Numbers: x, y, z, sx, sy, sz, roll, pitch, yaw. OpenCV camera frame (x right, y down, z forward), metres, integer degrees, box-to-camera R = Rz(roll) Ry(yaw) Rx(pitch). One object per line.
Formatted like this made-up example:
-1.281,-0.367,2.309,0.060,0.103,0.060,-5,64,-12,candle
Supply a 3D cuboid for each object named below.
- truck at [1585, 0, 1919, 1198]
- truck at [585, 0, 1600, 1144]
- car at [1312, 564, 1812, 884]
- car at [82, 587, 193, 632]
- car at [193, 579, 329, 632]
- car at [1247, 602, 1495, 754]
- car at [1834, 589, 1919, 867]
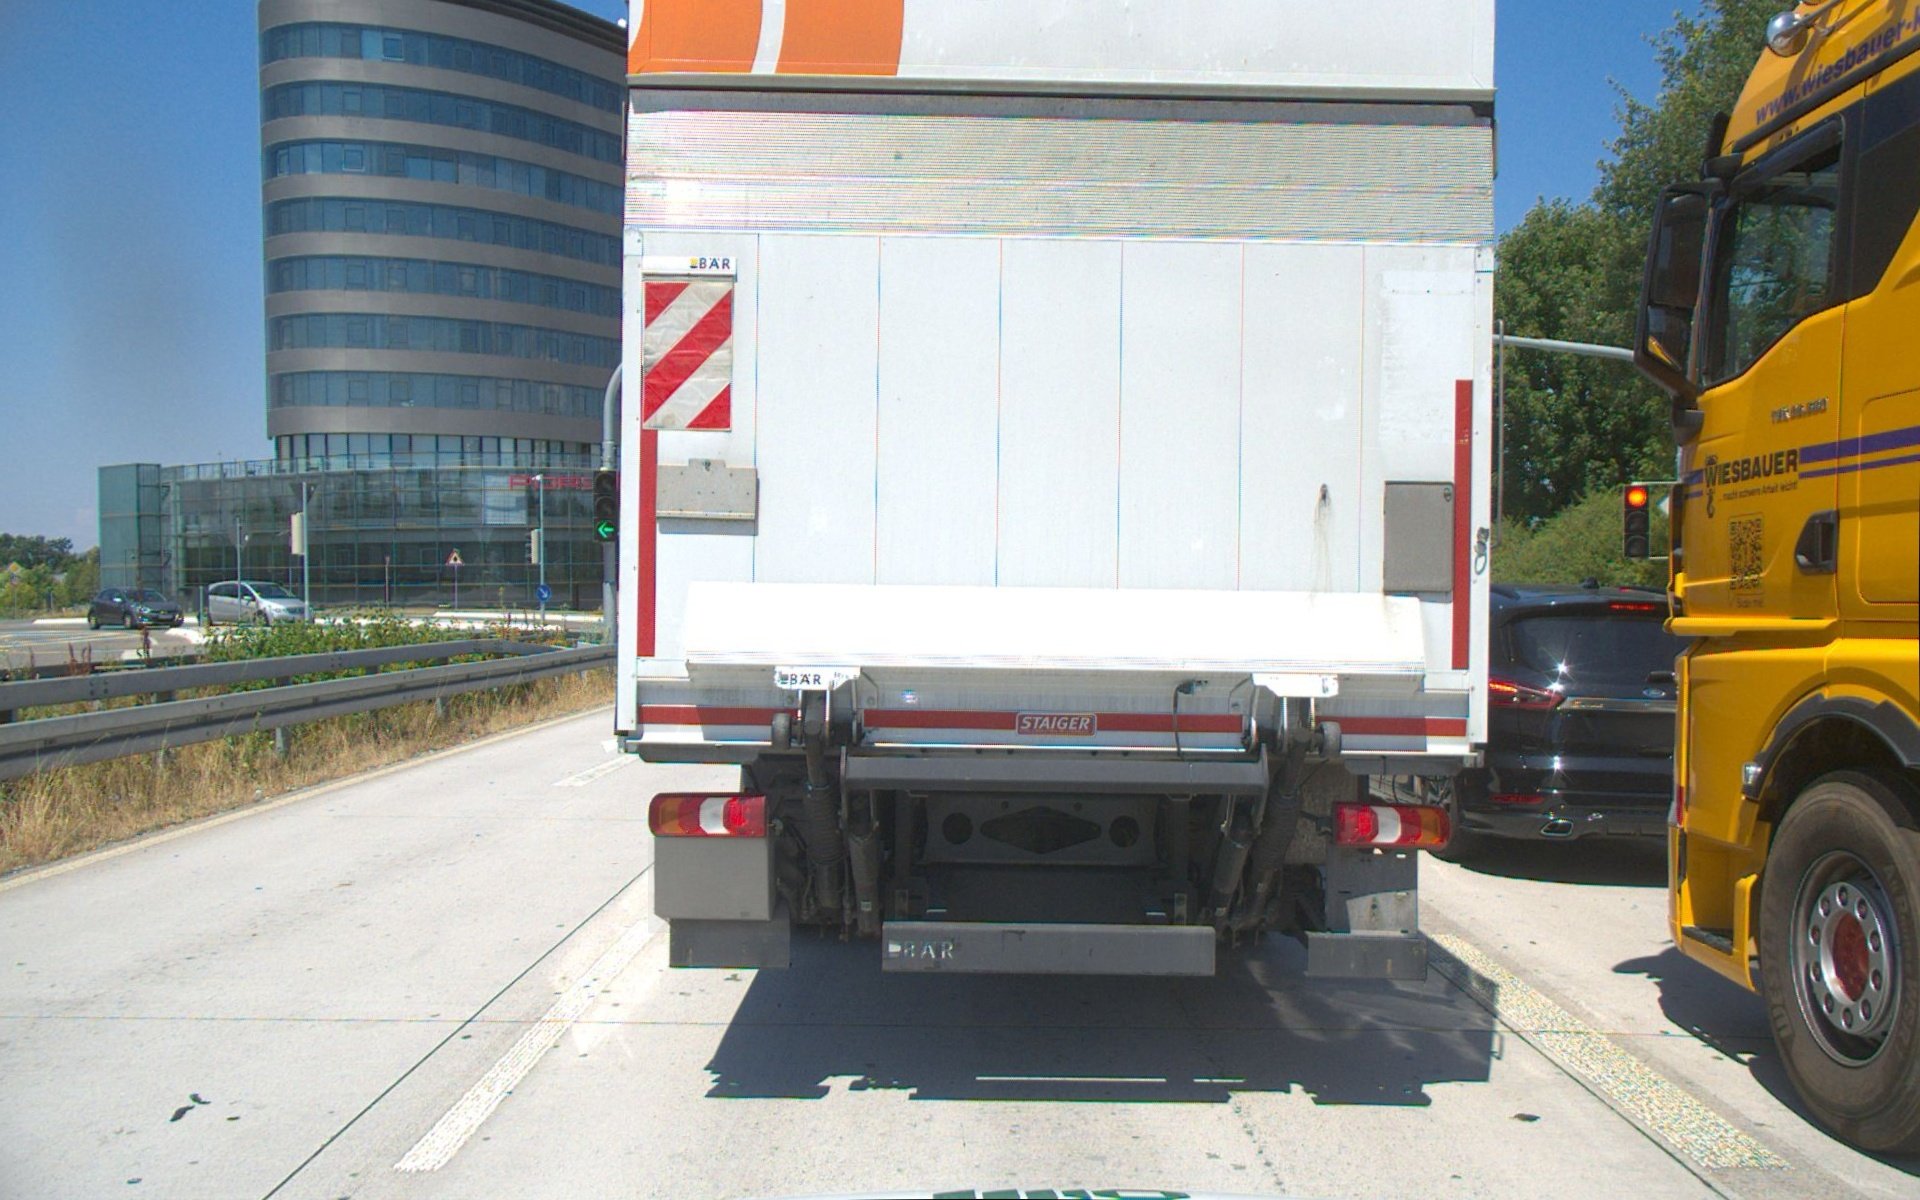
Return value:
3.948,-0.410,2.463,2.953,3.838,7.466,1,0,-2,truck
0.313,-0.485,9.178,2.713,3.927,9.368,1,0,-1,truck
3.696,0.668,11.125,1.747,1.668,4.648,1,0,1,car
-28.765,0.352,57.811,4.241,1.482,1.691,-2,-2,35,car
-22.652,0.200,53.573,4.231,1.623,1.775,-1,-2,27,car
4.374,0.762,18.305,1.731,1.435,4.611,1,0,2,car
7.330,0.859,9.580,1.733,1.839,4.788,1,0,-4,car
